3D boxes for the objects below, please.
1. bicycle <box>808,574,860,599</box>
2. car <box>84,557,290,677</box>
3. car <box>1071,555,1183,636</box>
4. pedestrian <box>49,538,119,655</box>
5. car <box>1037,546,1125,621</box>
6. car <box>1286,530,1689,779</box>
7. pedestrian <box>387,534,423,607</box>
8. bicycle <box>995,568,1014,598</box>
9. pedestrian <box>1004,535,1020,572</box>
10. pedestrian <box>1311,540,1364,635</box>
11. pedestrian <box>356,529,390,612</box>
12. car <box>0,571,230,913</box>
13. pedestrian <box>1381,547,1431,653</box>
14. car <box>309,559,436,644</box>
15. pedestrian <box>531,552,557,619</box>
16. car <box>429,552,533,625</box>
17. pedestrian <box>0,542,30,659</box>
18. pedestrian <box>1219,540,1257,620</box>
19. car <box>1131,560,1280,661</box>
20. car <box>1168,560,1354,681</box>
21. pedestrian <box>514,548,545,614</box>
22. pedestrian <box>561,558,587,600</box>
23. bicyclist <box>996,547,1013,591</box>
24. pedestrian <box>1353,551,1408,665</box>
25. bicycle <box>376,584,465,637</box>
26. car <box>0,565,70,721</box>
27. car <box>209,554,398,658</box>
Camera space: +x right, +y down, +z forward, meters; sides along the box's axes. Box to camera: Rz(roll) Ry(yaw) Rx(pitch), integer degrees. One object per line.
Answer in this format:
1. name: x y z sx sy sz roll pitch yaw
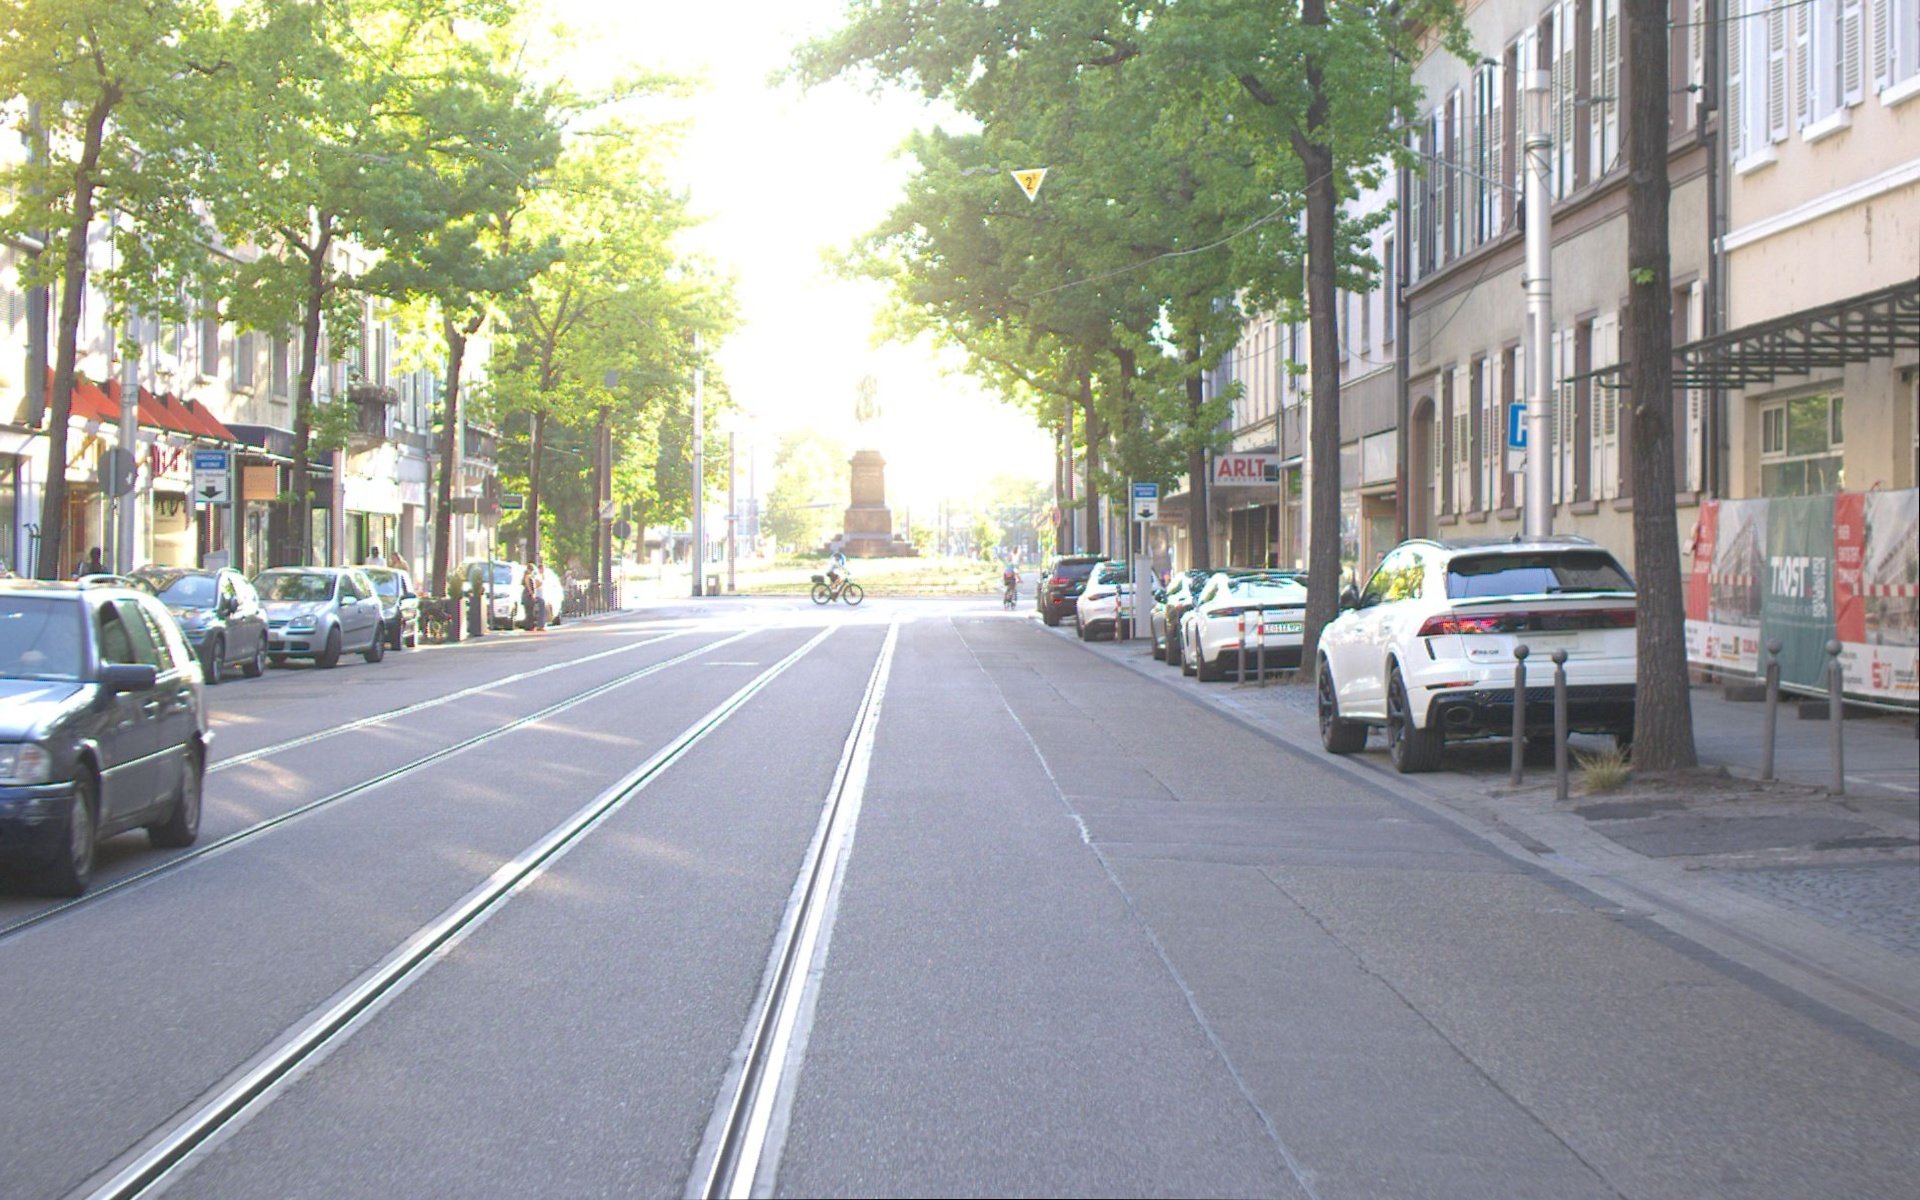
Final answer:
1. bicycle: -4.351 -0.464 118.779 1.732 0.861 0.367 0 1 9
2. car: -10.177 0.187 45.546 1.711 1.456 4.486 2 1 -1
3. car: 3.397 -0.125 70.562 1.993 1.493 4.680 -3 1 0
4. pedestrian: -12.763 -0.055 50.076 0.843 1.687 0.740 0 1 -1
5. car: 3.071 -0.437 88.116 1.938 1.753 4.680 -3 1 -1
6. car: 3.942 0.370 26.606 1.997 1.682 4.968 -2 0 -4
7. pedestrian: -13.571 -0.723 84.081 0.722 1.754 1.090 0 1 -1
8. bicycle: 1.472 -0.567 114.246 0.264 0.979 1.337 0 1 16
9. pedestrian: 2.286 -2.050 151.531 0.636 1.600 0.772 0 1 -3
10. pedestrian: 7.053 -0.239 64.232 0.858 1.747 0.933 0 1 -1
11. pedestrian: -14.352 -0.723 84.083 0.722 2.007 0.643 0 1 -1
12. car: -4.789 0.574 16.607 1.779 1.402 4.528 0 1 -3
13. pedestrian: 7.076 -0.009 54.558 0.658 1.659 0.888 0 1 -2
14. car: -10.656 0.007 62.554 1.665 1.423 3.827 3 1 -1
15. pedestrian: -9.675 -0.336 80.007 0.521 1.564 0.634 0 0 0
16. car: -11.409 -0.298 82.048 1.836 1.575 4.116 4 1 0
17. pedestrian: -13.977 0.001 49.788 0.789 1.687 0.914 0 1 -1
18. pedestrian: 5.923 -0.435 73.299 0.643 1.664 0.786 -3 1 -1
19. car: 3.823 0.128 54.239 1.833 1.473 4.762 -2 1 -1
20. car: 3.862 0.227 44.816 1.912 1.415 4.888 -2 1 0
21. pedestrian: -9.905 -0.449 79.094 0.620 1.504 0.729 0 1 0
22. pedestrian: -11.812 -0.648 105.280 0.728 1.286 0.857 0 1 -3
23. bicyclist: 1.474 -1.038 114.265 0.428 1.476 0.465 0 1 17
24. pedestrian: 5.860 0.107 47.924 0.649 1.568 0.798 0 1 -1
25. bicycle: -10.454 0.204 66.631 1.616 0.962 0.432 2 1 5
26. car: -10.365 0.379 35.282 1.791 1.485 4.243 2 0 -7
27. car: -9.824 0.077 51.758 1.767 1.492 4.174 1 0 4
